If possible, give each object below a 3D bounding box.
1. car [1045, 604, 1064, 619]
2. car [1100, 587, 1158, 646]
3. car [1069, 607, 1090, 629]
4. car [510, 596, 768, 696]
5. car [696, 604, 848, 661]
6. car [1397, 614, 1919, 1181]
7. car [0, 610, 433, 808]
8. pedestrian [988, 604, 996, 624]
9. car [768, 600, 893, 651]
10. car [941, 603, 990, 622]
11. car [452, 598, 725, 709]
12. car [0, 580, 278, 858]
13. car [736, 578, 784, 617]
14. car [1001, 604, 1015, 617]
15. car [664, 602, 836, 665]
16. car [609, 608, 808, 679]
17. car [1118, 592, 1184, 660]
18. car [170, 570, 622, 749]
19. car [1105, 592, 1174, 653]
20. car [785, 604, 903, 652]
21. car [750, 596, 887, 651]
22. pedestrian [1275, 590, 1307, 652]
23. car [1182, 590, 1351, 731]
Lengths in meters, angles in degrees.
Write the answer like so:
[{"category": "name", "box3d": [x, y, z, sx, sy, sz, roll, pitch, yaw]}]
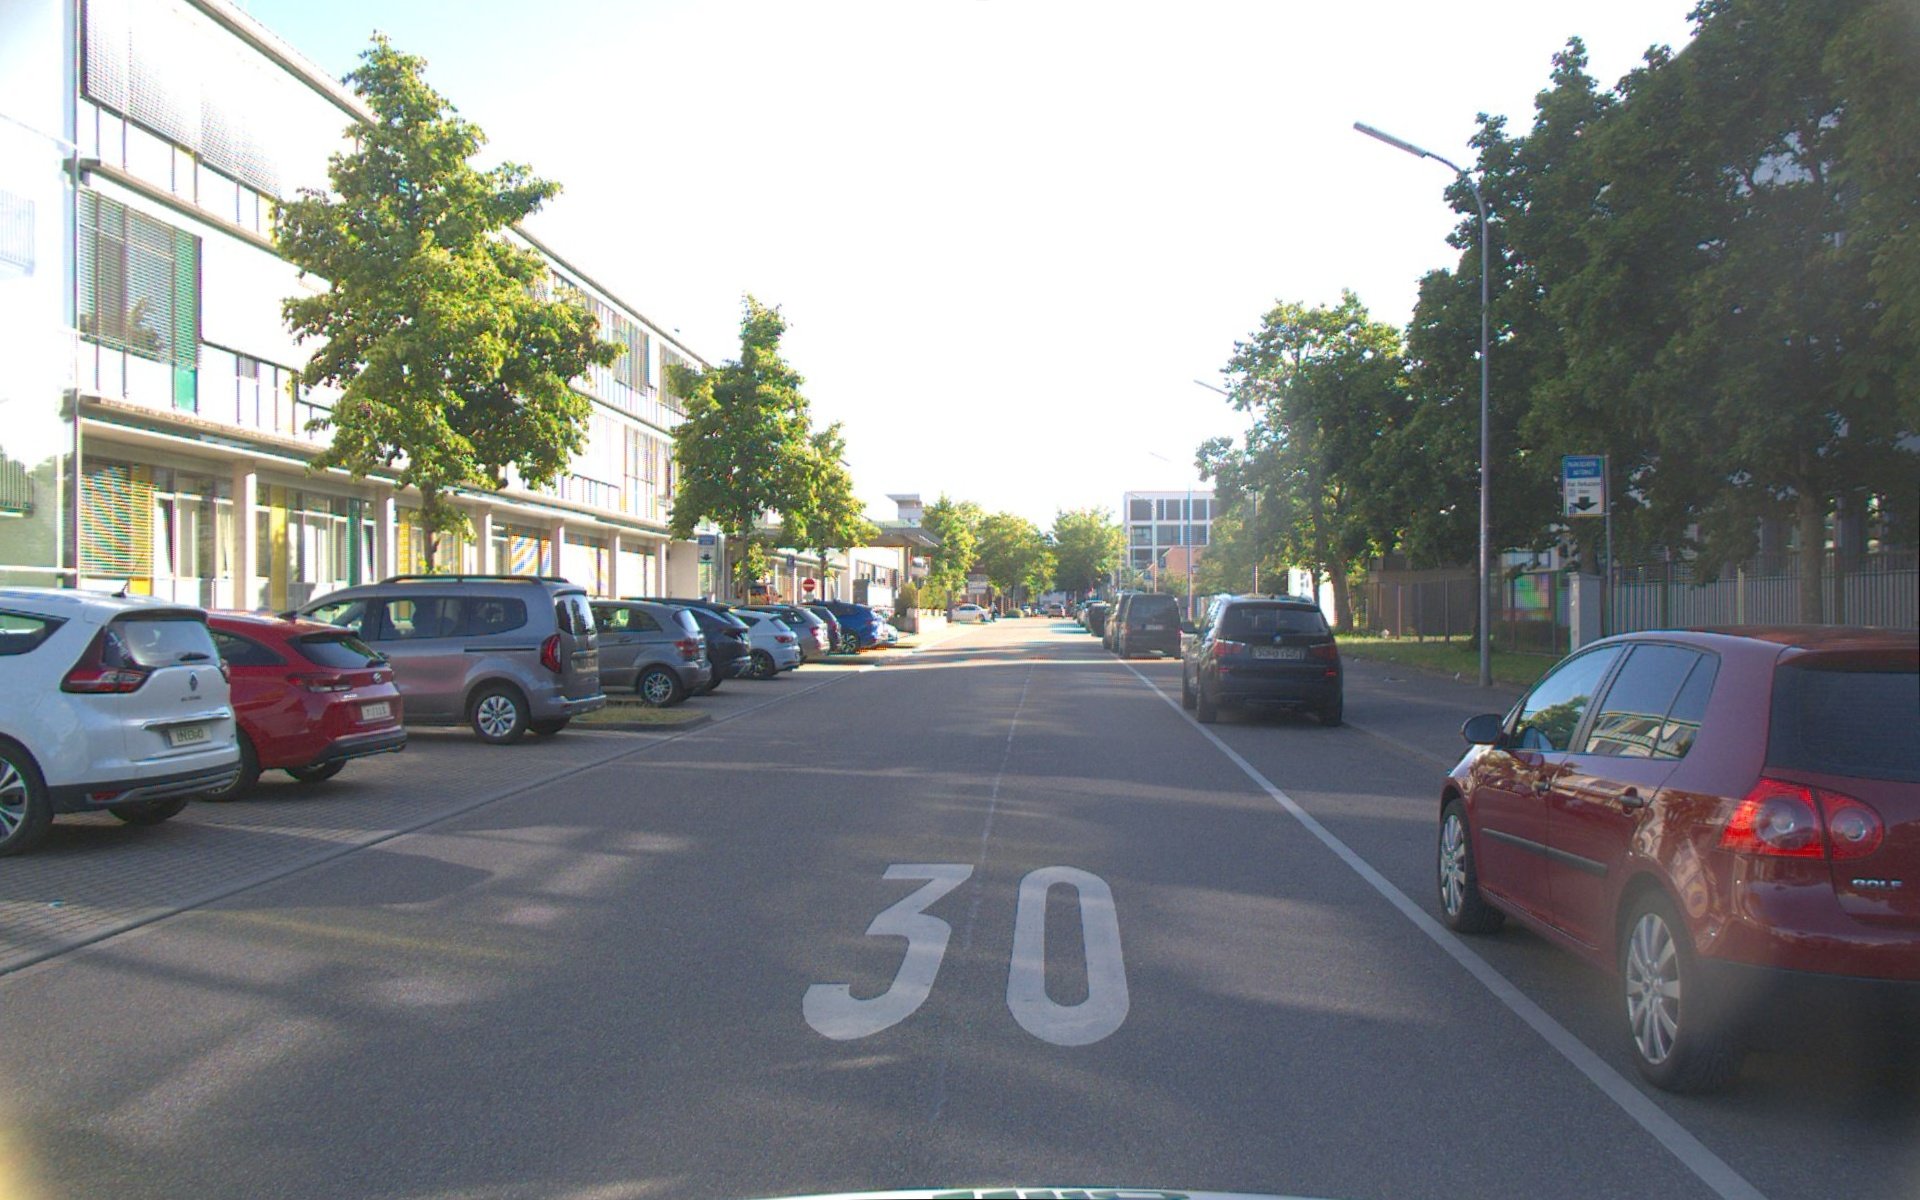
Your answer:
[{"category": "car", "box3d": [9.940, 1.173, 173.665, 1.706, 1.570, 4.003, 0, 0, 6]}, {"category": "car", "box3d": [6.117, 0.593, 60.173, 1.835, 2.013, 4.001, -1, 0, 3]}, {"category": "car", "box3d": [11.576, 1.741, 160.365, 1.952, 2.049, 4.001, 0, -2, 3]}, {"category": "car", "box3d": [-5.619, 0.796, 29.380, 4.159, 1.640, 2.048, 1, 0, -1]}, {"category": "car", "box3d": [-5.364, 0.923, 47.625, 4.128, 1.512, 1.872, 1, 0, -1]}, {"category": "car", "box3d": [3.139, 0.821, 6.708, 1.684, 1.480, 4.653, 1, 0, 3]}, {"category": "car", "box3d": [-6.883, 0.856, 13.823, 4.341, 1.527, 1.828, 0, -1, 3]}, {"category": "pedestrian", "box3d": [2.567, 1.115, 131.955, 0.605, 1.652, 0.716, -1, 0, 3]}, {"category": "car", "box3d": [-4.244, 0.821, 54.602, 3.905, 1.579, 2.000, -1, 0, 0]}, {"category": "car", "box3d": [0.439, 1.054, 135.680, 3.903, 1.546, 2.001, 0, -2, 3]}, {"category": "car", "box3d": [-5.857, 0.822, 26.433, 3.905, 1.635, 1.872, 1, 0, -1]}, {"category": "car", "box3d": [-7.254, 0.736, 11.206, 4.514, 1.680, 1.869, 0, -1, 7]}, {"category": "car", "box3d": [-11.040, -0.102, 91.390, 1.952, 2.049, 4.001, 0, -2, 3]}, {"category": "car", "box3d": [5.909, 1.313, 201.899, 1.691, 1.563, 4.001, 0, 0, 2]}, {"category": "car", "box3d": [-5.297, 0.830, 42.195, 4.128, 1.488, 1.872, 1, 0, -1]}, {"category": "car", "box3d": [-5.251, 0.906, 34.908, 3.905, 1.382, 1.743, 1, 0, -1]}, {"category": "car", "box3d": [5.469, 0.720, 47.695, 1.696, 1.862, 3.907, 0, 0, 4]}, {"category": "car", "box3d": [-6.532, 0.659, 19.464, 4.643, 1.897, 1.828, 1, 0, 4]}, {"category": "car", "box3d": [5.814, 0.710, 53.930, 1.952, 1.855, 4.200, -1, 0, 3]}, {"category": "car", "box3d": [-3.964, 0.948, 57.099, 3.905, 1.579, 2.000, 0, 0, 0]}, {"category": "car", "box3d": [-4.432, 0.722, 52.173, 4.128, 1.631, 1.872, 1, 0, -1]}, {"category": "pedestrian", "box3d": [9.252, 0.583, 46.202, 0.684, 1.690, 0.752, -3, -1, 3]}, {"category": "car", "box3d": [4.093, 0.734, 22.761, 1.774, 1.695, 4.595, 1, 1, 4]}]
